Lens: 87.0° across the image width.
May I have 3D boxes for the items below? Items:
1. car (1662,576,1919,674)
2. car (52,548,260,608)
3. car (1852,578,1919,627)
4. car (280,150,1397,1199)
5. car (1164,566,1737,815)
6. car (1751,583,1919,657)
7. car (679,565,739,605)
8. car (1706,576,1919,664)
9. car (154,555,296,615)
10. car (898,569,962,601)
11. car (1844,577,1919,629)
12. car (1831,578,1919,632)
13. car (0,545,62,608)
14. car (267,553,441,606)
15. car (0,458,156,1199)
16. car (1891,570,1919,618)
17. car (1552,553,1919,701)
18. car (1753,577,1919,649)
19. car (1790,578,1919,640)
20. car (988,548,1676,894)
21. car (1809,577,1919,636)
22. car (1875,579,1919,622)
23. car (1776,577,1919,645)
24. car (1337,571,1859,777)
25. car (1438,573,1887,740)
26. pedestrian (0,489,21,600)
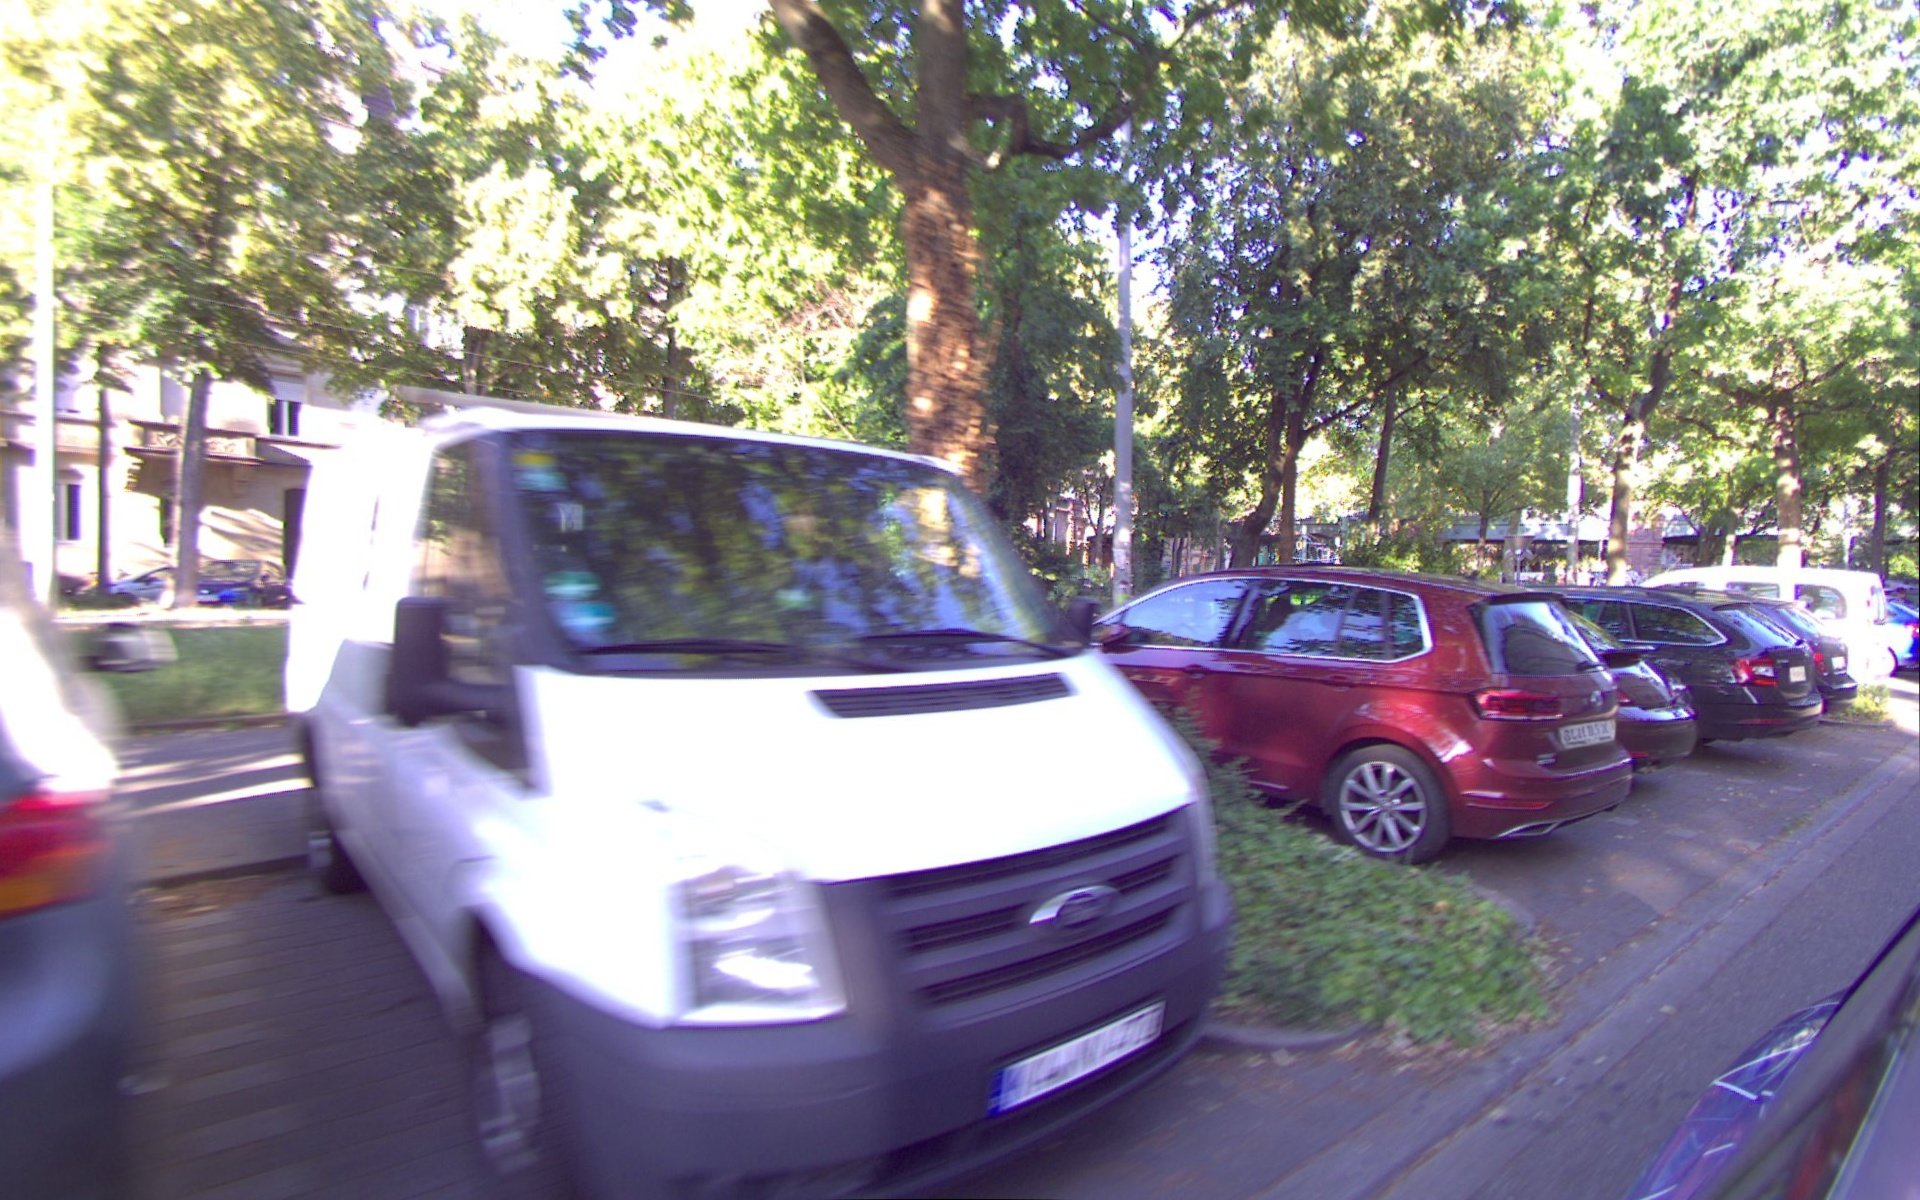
[{"bbox_3d":[15.391,0.377,18.399,1.654,1.507,3.997,0,3,-40],"label":"car"},{"bbox_3d":[-23.075,-0.653,29.183,1.989,1.587,4.359,3,3,37],"label":"car"},{"bbox_3d":[31.823,0.116,32.821,1.654,1.507,4.130,0,3,-40],"label":"car"},{"bbox_3d":[-1.156,0.266,4.030,2.117,2.063,4.856,0,3,-40],"label":"car"},{"bbox_3d":[3.835,0.518,8.522,1.654,1.507,3.997,0,3,-40],"label":"car"},{"bbox_3d":[19.116,0.398,20.972,1.654,1.355,3.997,0,3,-40],"label":"car"},{"bbox_3d":[-9.055,-0.573,36.267,1.711,1.294,4.010,1,2,-19],"label":"car"},{"bbox_3d":[17.366,0.347,19.929,1.654,1.507,3.997,0,3,-40],"label":"car"},{"bbox_3d":[-17.699,-0.419,24.589,1.711,1.294,4.010,1,2,-19],"label":"car"},{"bbox_3d":[-1.404,-0.703,45.399,1.711,1.294,4.010,1,2,-19],"label":"car"},{"bbox_3d":[29.996,0.122,30.923,1.654,1.507,4.263,0,3,-40],"label":"car"},{"bbox_3d":[28.304,0.176,29.416,1.654,1.507,4.263,0,3,-40],"label":"car"},{"bbox_3d":[-25.761,-0.607,25.666,1.989,1.587,4.186,3,3,37],"label":"car"},{"bbox_3d":[-19.870,-0.709,33.352,1.990,1.587,4.550,3,3,38],"label":"car"},{"bbox_3d":[-3.140,0.511,2.554,1.734,1.599,3.998,0,3,-39],"label":"car"},{"bbox_3d":[39.243,-0.153,38.736,1.800,1.864,5.095,0,3,-39],"label":"car"},{"bbox_3d":[11.282,0.267,14.963,1.654,1.855,3.997,0,3,-40],"label":"car"},{"bbox_3d":[21.300,0.284,23.717,1.654,1.507,3.997,0,3,-40],"label":"car"},{"bbox_3d":[24.566,0.233,26.588,1.654,1.507,3.997,0,3,-40],"label":"car"},{"bbox_3d":[2.127,0.475,6.744,1.654,1.573,3.997,0,3,-40],"label":"car"},{"bbox_3d":[26.451,0.183,28.130,1.654,1.540,4.130,0,3,-40],"label":"car"},{"bbox_3d":[35.293,0.062,35.794,1.654,1.507,4.130,0,3,-40],"label":"car"},{"bbox_3d":[22.820,0.261,24.908,1.654,1.507,3.997,0,3,-40],"label":"car"},{"bbox_3d":[6.004,0.525,9.938,1.654,1.507,3.997,0,3,-40],"label":"car"},{"bbox_3d":[7.982,0.493,11.828,1.654,1.507,3.997,0,3,-40],"label":"car"},{"bbox_3d":[-26.171,-1.507,27.594,0.916,2.984,0.691,2,2,38],"label":"pedestrian"}]
